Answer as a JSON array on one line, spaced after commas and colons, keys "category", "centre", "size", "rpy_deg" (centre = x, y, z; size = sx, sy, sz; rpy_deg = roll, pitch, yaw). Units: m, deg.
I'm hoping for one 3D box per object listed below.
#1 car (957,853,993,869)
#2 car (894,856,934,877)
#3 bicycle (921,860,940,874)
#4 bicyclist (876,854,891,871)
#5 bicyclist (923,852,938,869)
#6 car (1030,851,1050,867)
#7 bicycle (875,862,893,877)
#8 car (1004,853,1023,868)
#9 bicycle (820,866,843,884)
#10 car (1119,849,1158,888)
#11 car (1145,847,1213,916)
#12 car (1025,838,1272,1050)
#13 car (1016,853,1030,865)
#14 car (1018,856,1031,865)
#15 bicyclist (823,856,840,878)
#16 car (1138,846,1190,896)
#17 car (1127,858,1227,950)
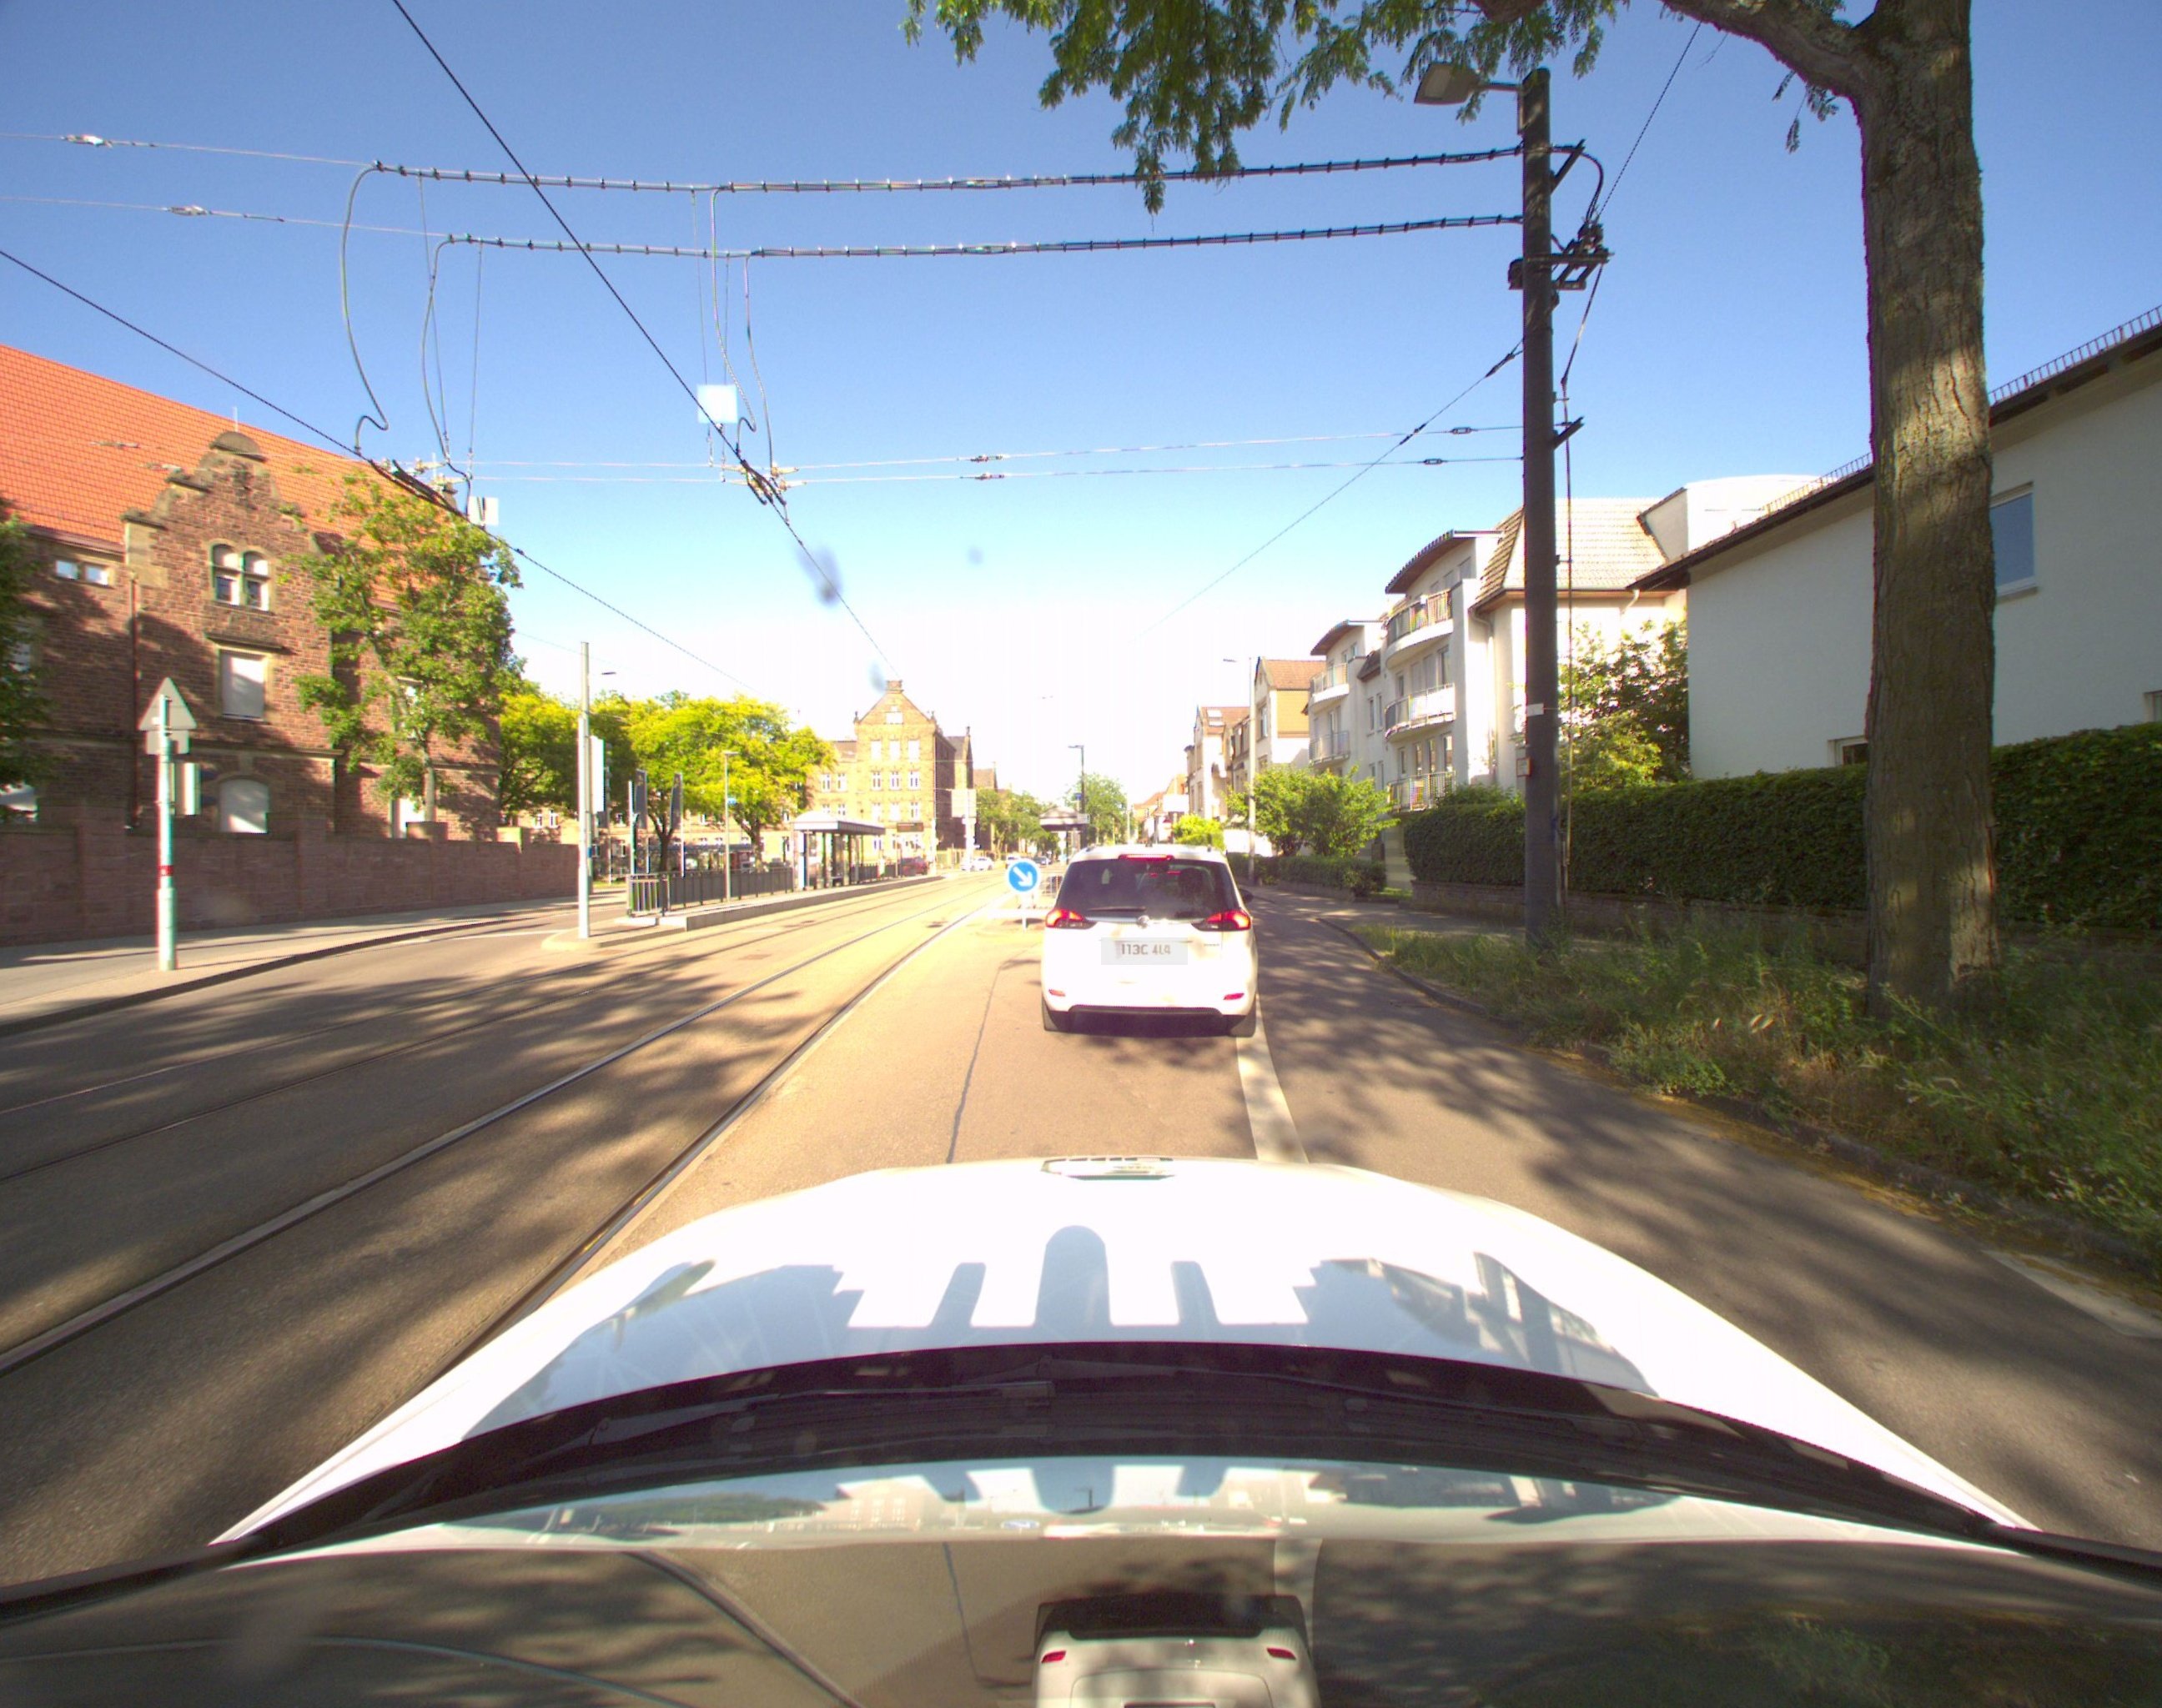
[{"category": "car", "centre": [-12.373, 0.820, 95.095], "size": [4.023, 1.809, 1.683], "rpy_deg": [-1, 0, -44]}, {"category": "car", "centre": [-13.562, 1.019, 66.306], "size": [1.807, 1.607, 4.369], "rpy_deg": [-1, 0, 8]}, {"category": "bicycle", "centre": [-14.087, 1.237, 76.331], "size": [0.771, 1.231, 2.098], "rpy_deg": [-1, 0, 17]}, {"category": "bicyclist", "centre": [-16.765, 0.710, 69.203], "size": [0.752, 1.470, 1.193], "rpy_deg": [-2, 0, 8]}, {"category": "bicyclist", "centre": [-14.117, 0.586, 76.303], "size": [0.754, 1.536, 1.354], "rpy_deg": [-2, -1, 19]}, {"category": "car", "centre": [-5.193, 0.601, 103.328], "size": [1.984, 2.013, 4.005], "rpy_deg": [-1, 0, 4]}, {"category": "bicycle", "centre": [-16.754, 1.330, 69.207], "size": [0.811, 1.198, 1.956], "rpy_deg": [-2, 0, 7]}, {"category": "car", "centre": [-8.518, 0.839, 103.187], "size": [1.819, 1.788, 4.260], "rpy_deg": [-1, 0, 4]}, {"category": "bicycle", "centre": [-16.854, 1.411, 55.010], "size": [0.680, 1.089, 2.068], "rpy_deg": [-1, 0, 8]}, {"category": "car", "centre": [2.559, 0.630, 37.126], "size": [1.590, 1.635, 3.903], "rpy_deg": [1, 0, 2]}, {"category": "car", "centre": [2.559, 0.642, 21.104], "size": [1.560, 1.614, 3.792], "rpy_deg": [1, 0, 7]}, {"category": "car", "centre": [0.758, 0.673, 8.194], "size": [1.868, 1.585, 4.008], "rpy_deg": [0, 0, 7]}, {"category": "car", "centre": [-8.627, 0.754, 121.117], "size": [1.821, 1.617, 4.326], "rpy_deg": [-1, -1, 0]}, {"category": "car", "centre": [-8.933, 1.045, 129.352], "size": [1.822, 1.446, 4.324], "rpy_deg": [-1, -1, -2]}, {"category": "bicyclist", "centre": [-16.863, 0.900, 54.994], "size": [0.649, 1.459, 1.154], "rpy_deg": [-1, 0, 8]}, {"category": "car", "centre": [2.912, 0.575, 29.238], "size": [1.590, 1.635, 3.903], "rpy_deg": [1, 0, 2]}, {"category": "car", "centre": [1.770, 0.801, 14.866], "size": [1.560, 1.401, 3.792], "rpy_deg": [1, 0, 7]}]
